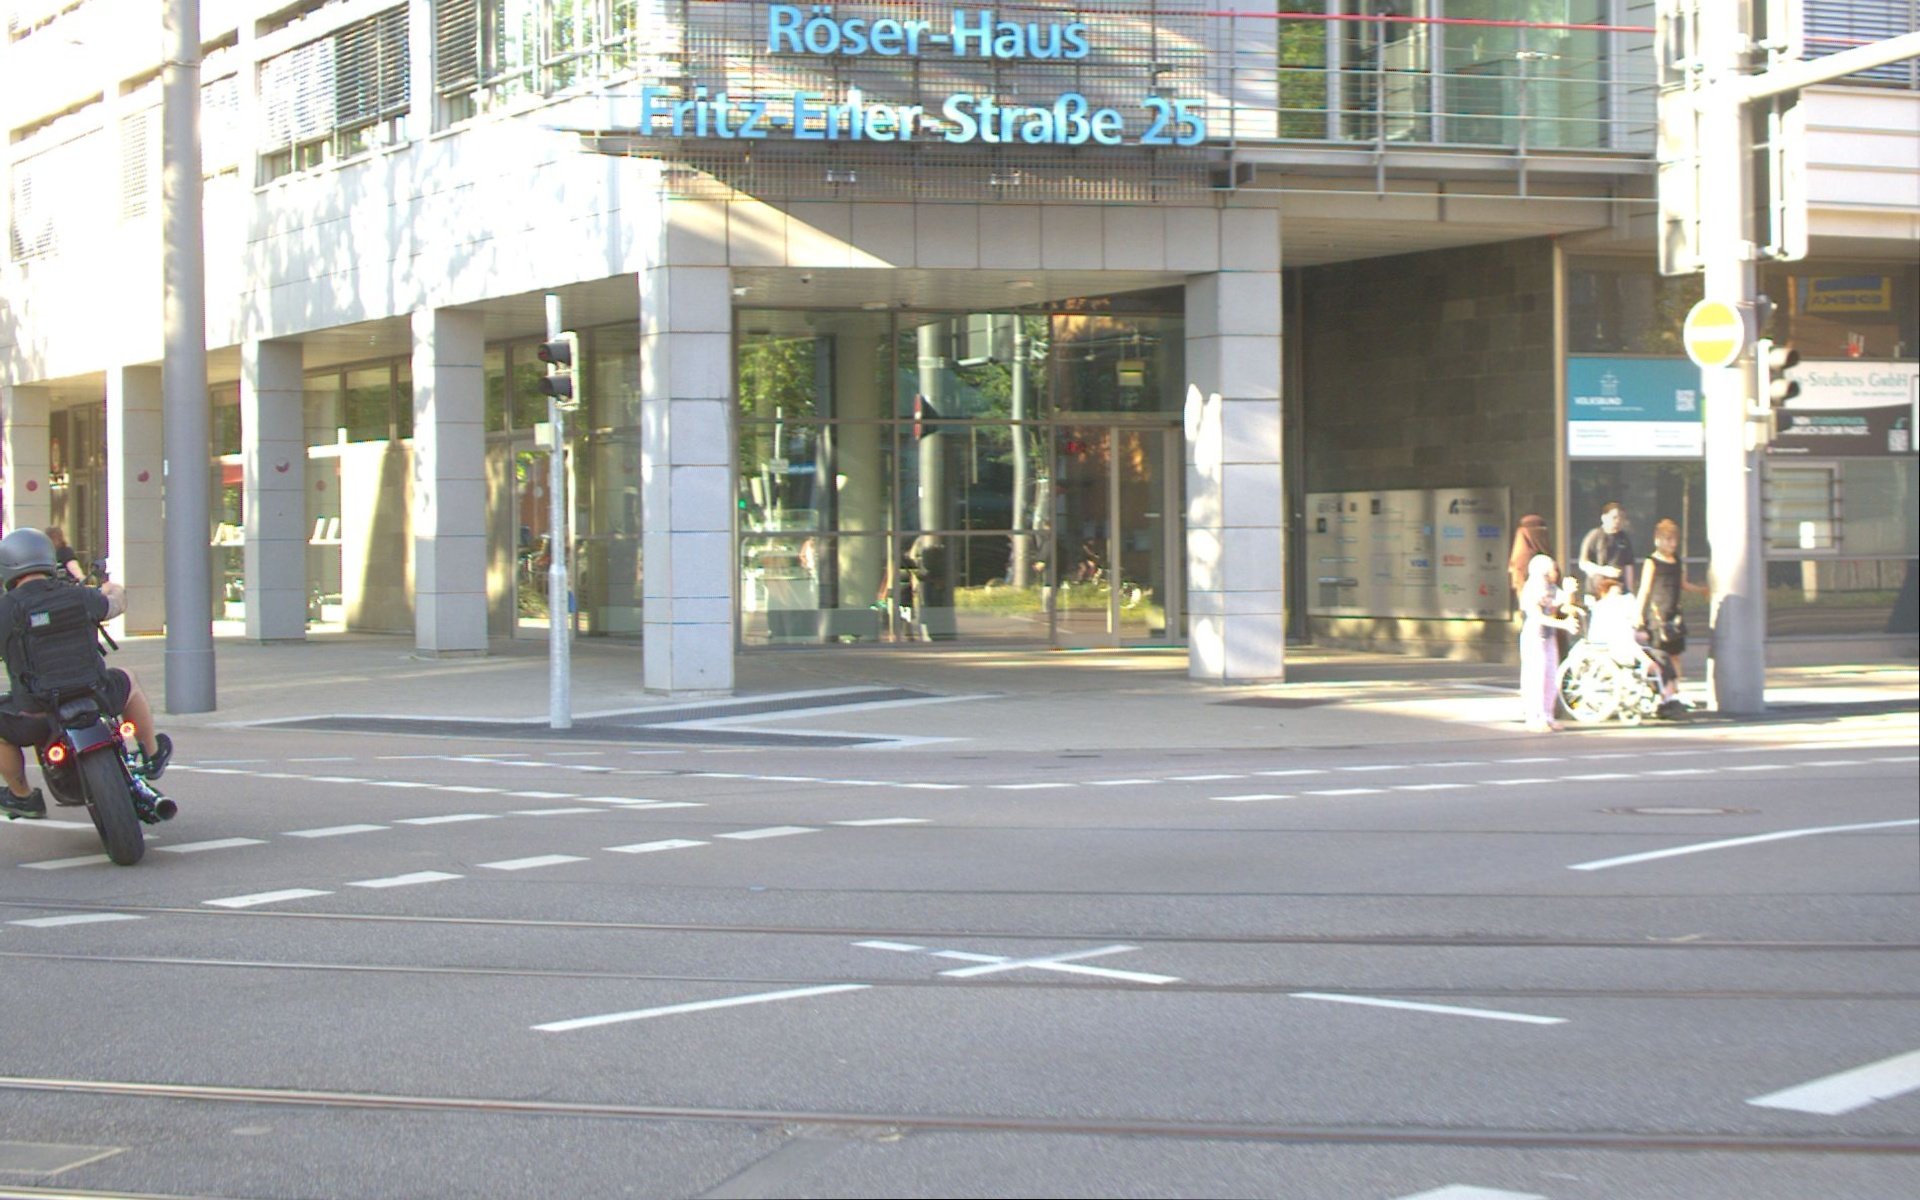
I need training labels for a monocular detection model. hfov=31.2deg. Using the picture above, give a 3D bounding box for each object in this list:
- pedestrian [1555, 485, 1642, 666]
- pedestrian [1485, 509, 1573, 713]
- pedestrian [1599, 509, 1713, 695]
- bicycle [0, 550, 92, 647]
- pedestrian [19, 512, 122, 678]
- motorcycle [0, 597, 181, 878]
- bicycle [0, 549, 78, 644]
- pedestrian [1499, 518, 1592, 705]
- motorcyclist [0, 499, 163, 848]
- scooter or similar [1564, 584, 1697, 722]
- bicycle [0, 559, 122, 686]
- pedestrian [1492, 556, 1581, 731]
[{"bbox_3d":[6.123,-0.241,32.943,0.644,1.709,0.689,0,2,26],"label":"pedestrian"},{"bbox_3d":[4.811,0.084,29.046,0.637,1.702,0.581,0,2,18],"label":"pedestrian"},{"bbox_3d":[6.112,0.009,30.192,0.653,1.612,0.723,-1,1,-33],"label":"pedestrian"},{"bbox_3d":[-11.781,-0.016,42.760,1.833,1.147,0.470,-3,3,-35],"label":"bicycle"},{"bbox_3d":[-8.952,-0.057,34.588,0.605,1.605,0.837,-6,5,-41],"label":"pedestrian"},{"bbox_3d":[-4.217,0.596,16.074,1.005,1.121,2.324,-1,2,-15],"label":"motorcycle"},{"bbox_3d":[-12.060,-0.032,43.148,1.833,1.147,0.470,-3,3,-35],"label":"bicycle"},{"bbox_3d":[5.124,0.089,30.054,0.702,1.595,0.659,1,2,17],"label":"pedestrian"},{"bbox_3d":[-4.284,0.313,16.070,1.022,1.547,1.287,-1,2,-15],"label":"motorcyclist"},{"bbox_3d":[5.615,0.437,28.790,1.016,1.125,0.550,0,1,19],"label":"scooter or similar"},{"bbox_3d":[-9.137,0.207,34.378,0.611,1.159,1.847,-6,6,-41],"label":"bicycle"},{"bbox_3d":[4.704,0.350,28.044,0.637,1.397,0.546,0,2,18],"label":"pedestrian"}]
